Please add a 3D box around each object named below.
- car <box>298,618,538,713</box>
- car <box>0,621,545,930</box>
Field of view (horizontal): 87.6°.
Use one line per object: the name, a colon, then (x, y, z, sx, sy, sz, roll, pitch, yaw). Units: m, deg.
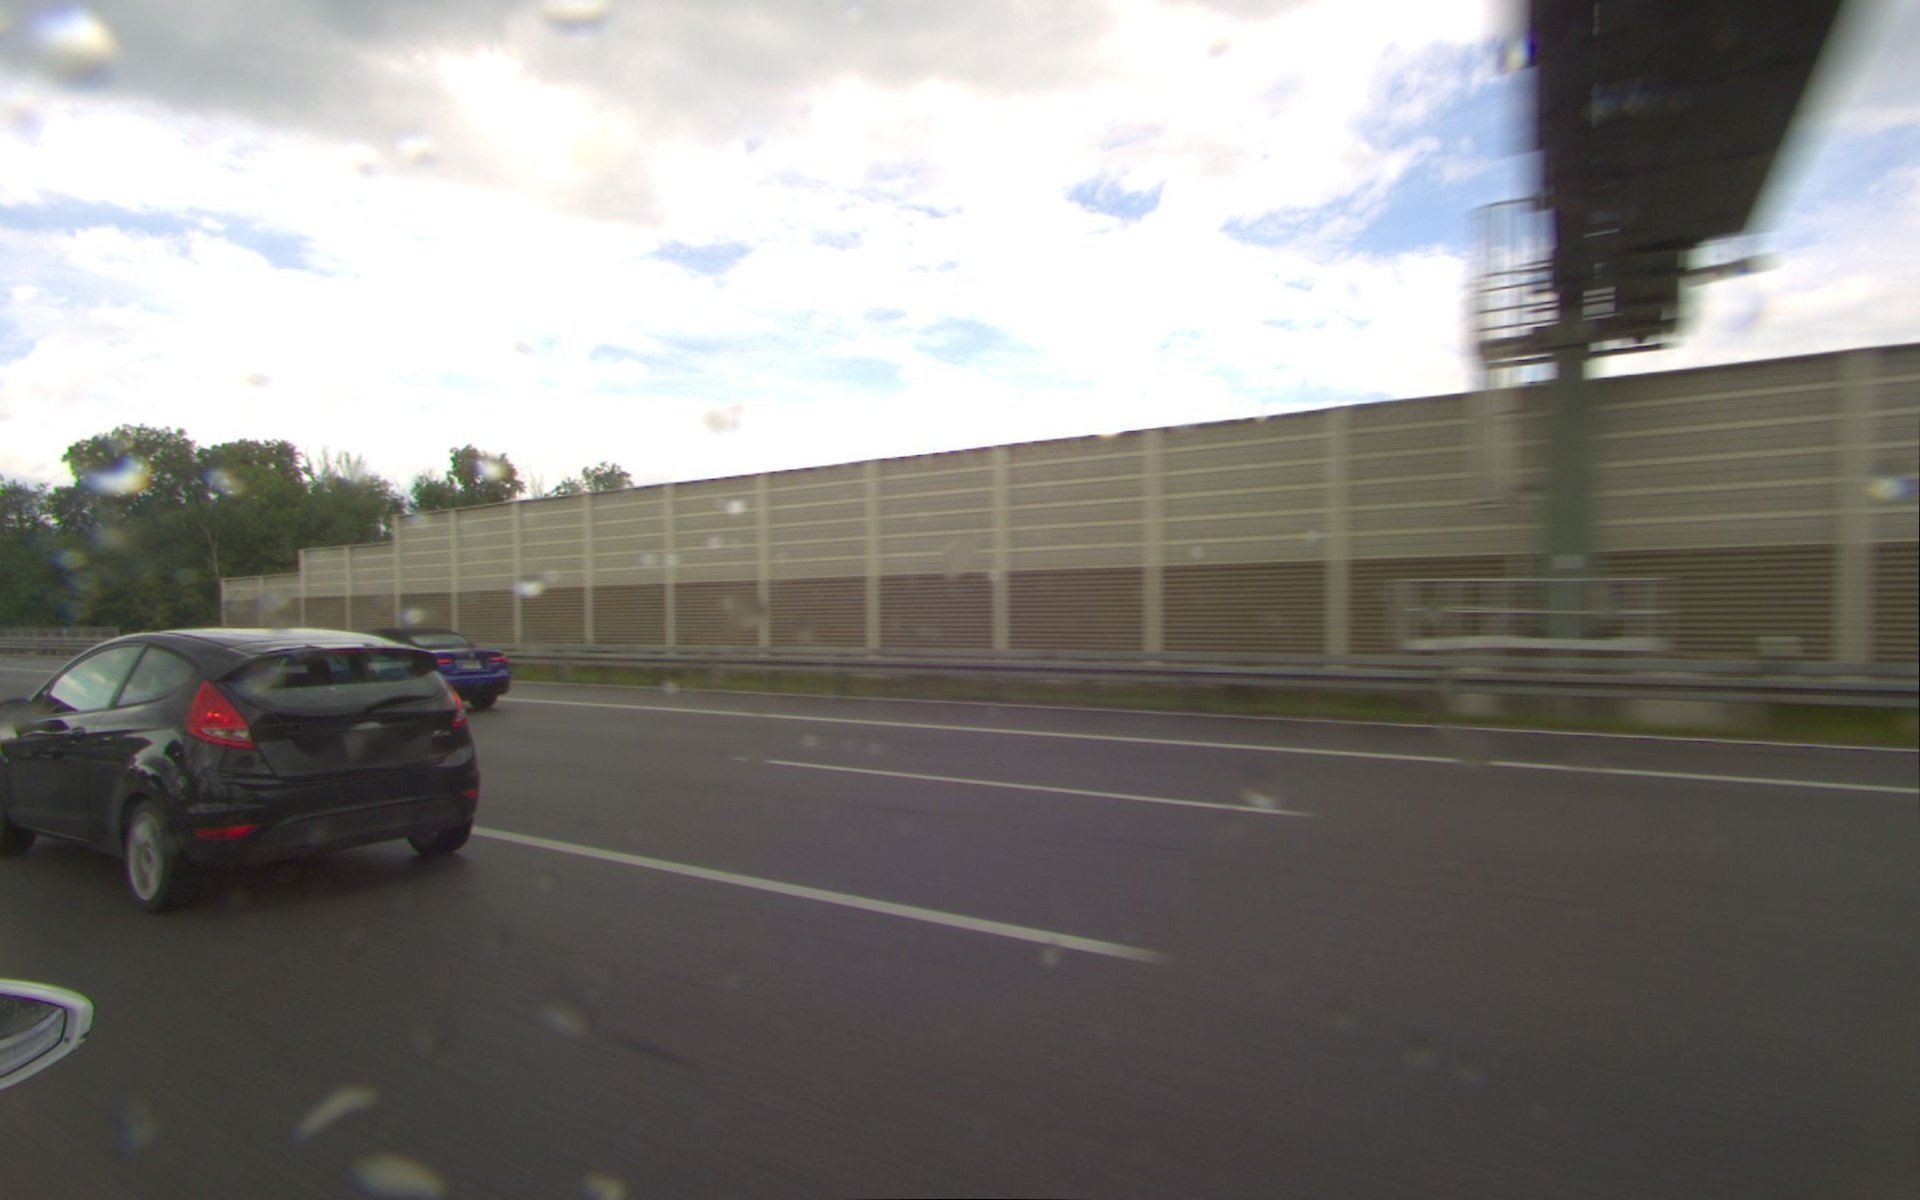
car: (-9.505, 1.052, 17.476, 4.172, 1.437, 1.945, 0, 0, 33)
car: (-4.767, 0.880, 6.524, 4.217, 1.435, 1.714, -1, -2, 32)
